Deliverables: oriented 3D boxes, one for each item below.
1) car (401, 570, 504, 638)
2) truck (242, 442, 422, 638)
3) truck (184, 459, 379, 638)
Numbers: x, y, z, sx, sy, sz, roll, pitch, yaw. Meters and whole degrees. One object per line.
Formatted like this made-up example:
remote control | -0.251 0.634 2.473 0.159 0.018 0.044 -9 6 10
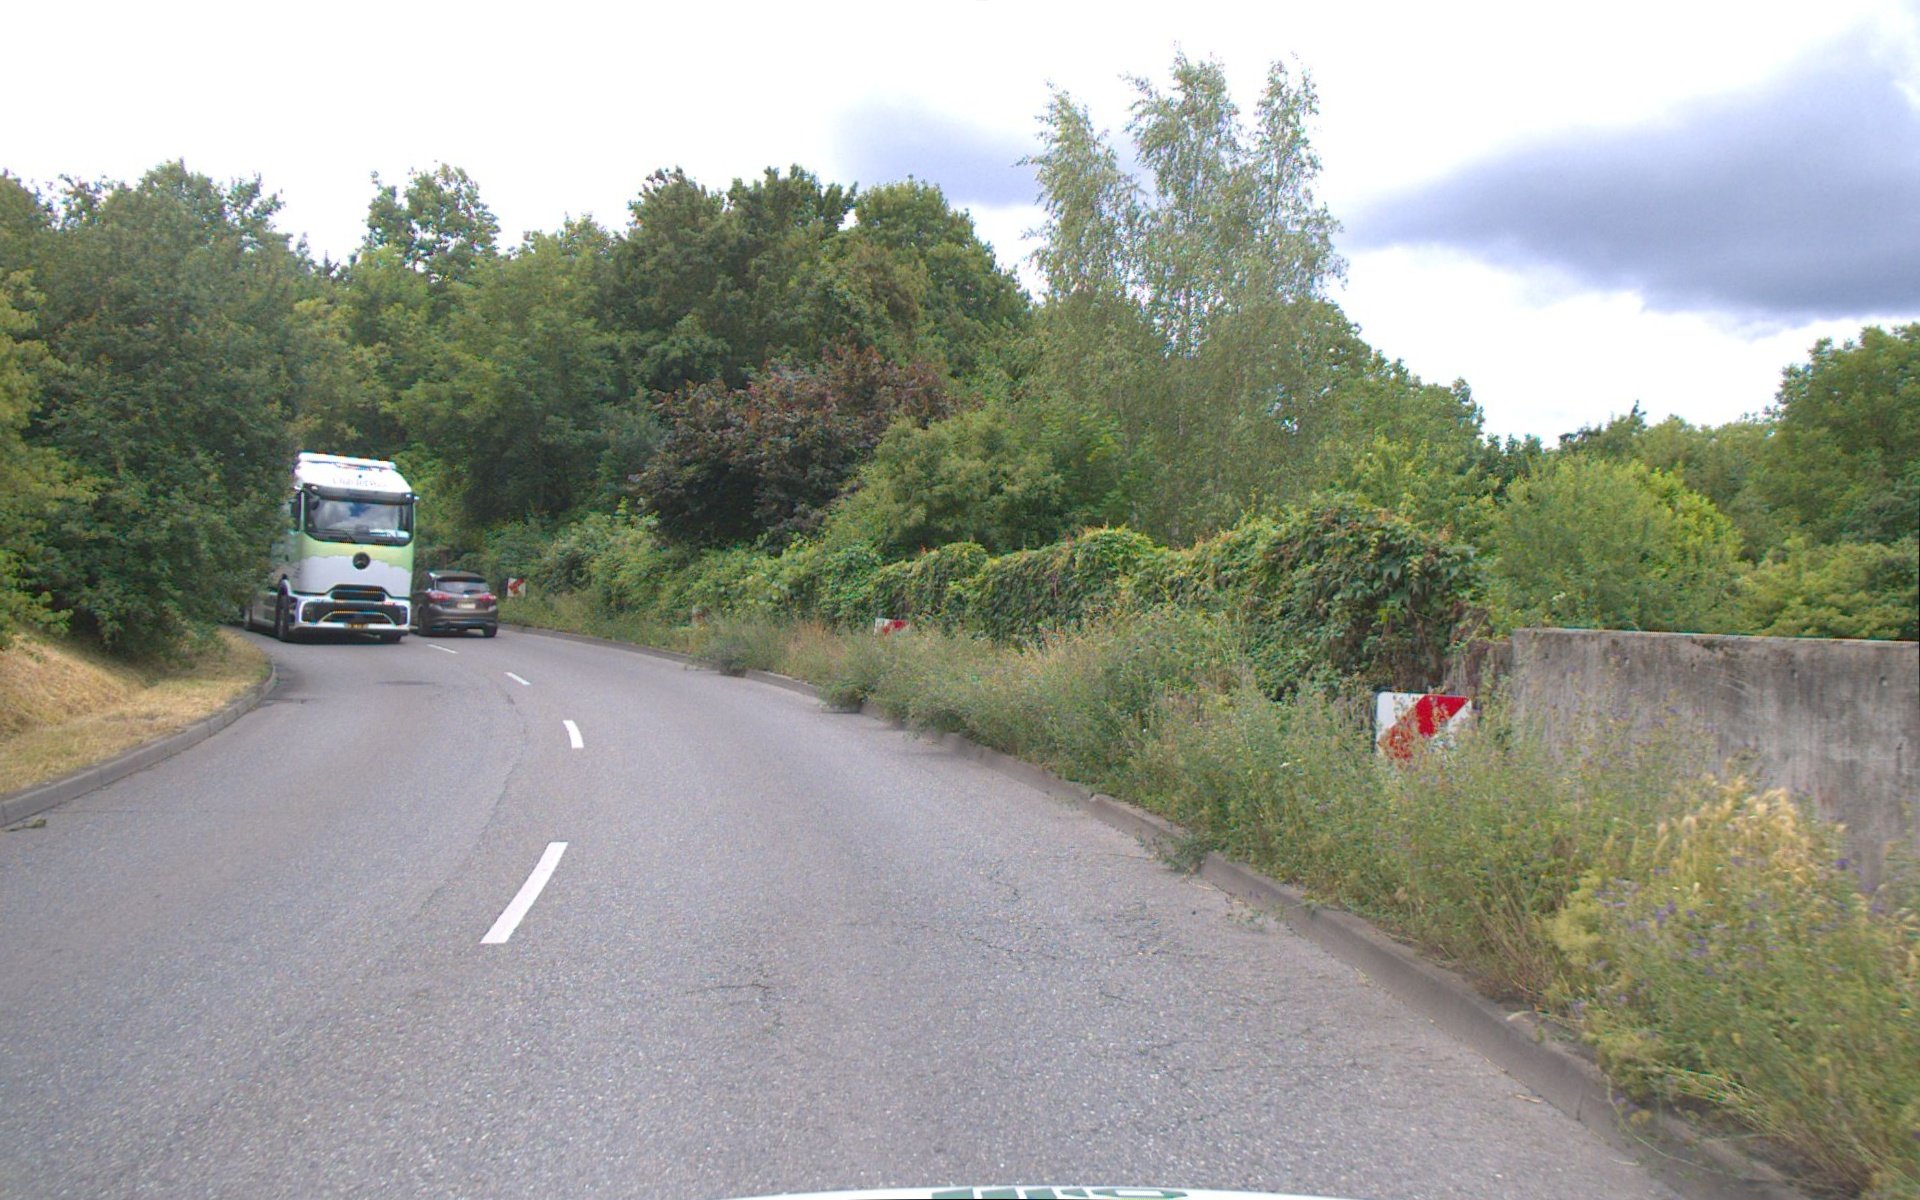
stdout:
car | -12.355 0.121 40.121 1.817 1.509 3.967 -2 0 -26
truck | -14.218 -1.171 37.166 2.678 4.020 6.260 0 -1 -32
truck | -18.261 -1.048 43.780 2.678 4.020 13.684 0 -1 -31
